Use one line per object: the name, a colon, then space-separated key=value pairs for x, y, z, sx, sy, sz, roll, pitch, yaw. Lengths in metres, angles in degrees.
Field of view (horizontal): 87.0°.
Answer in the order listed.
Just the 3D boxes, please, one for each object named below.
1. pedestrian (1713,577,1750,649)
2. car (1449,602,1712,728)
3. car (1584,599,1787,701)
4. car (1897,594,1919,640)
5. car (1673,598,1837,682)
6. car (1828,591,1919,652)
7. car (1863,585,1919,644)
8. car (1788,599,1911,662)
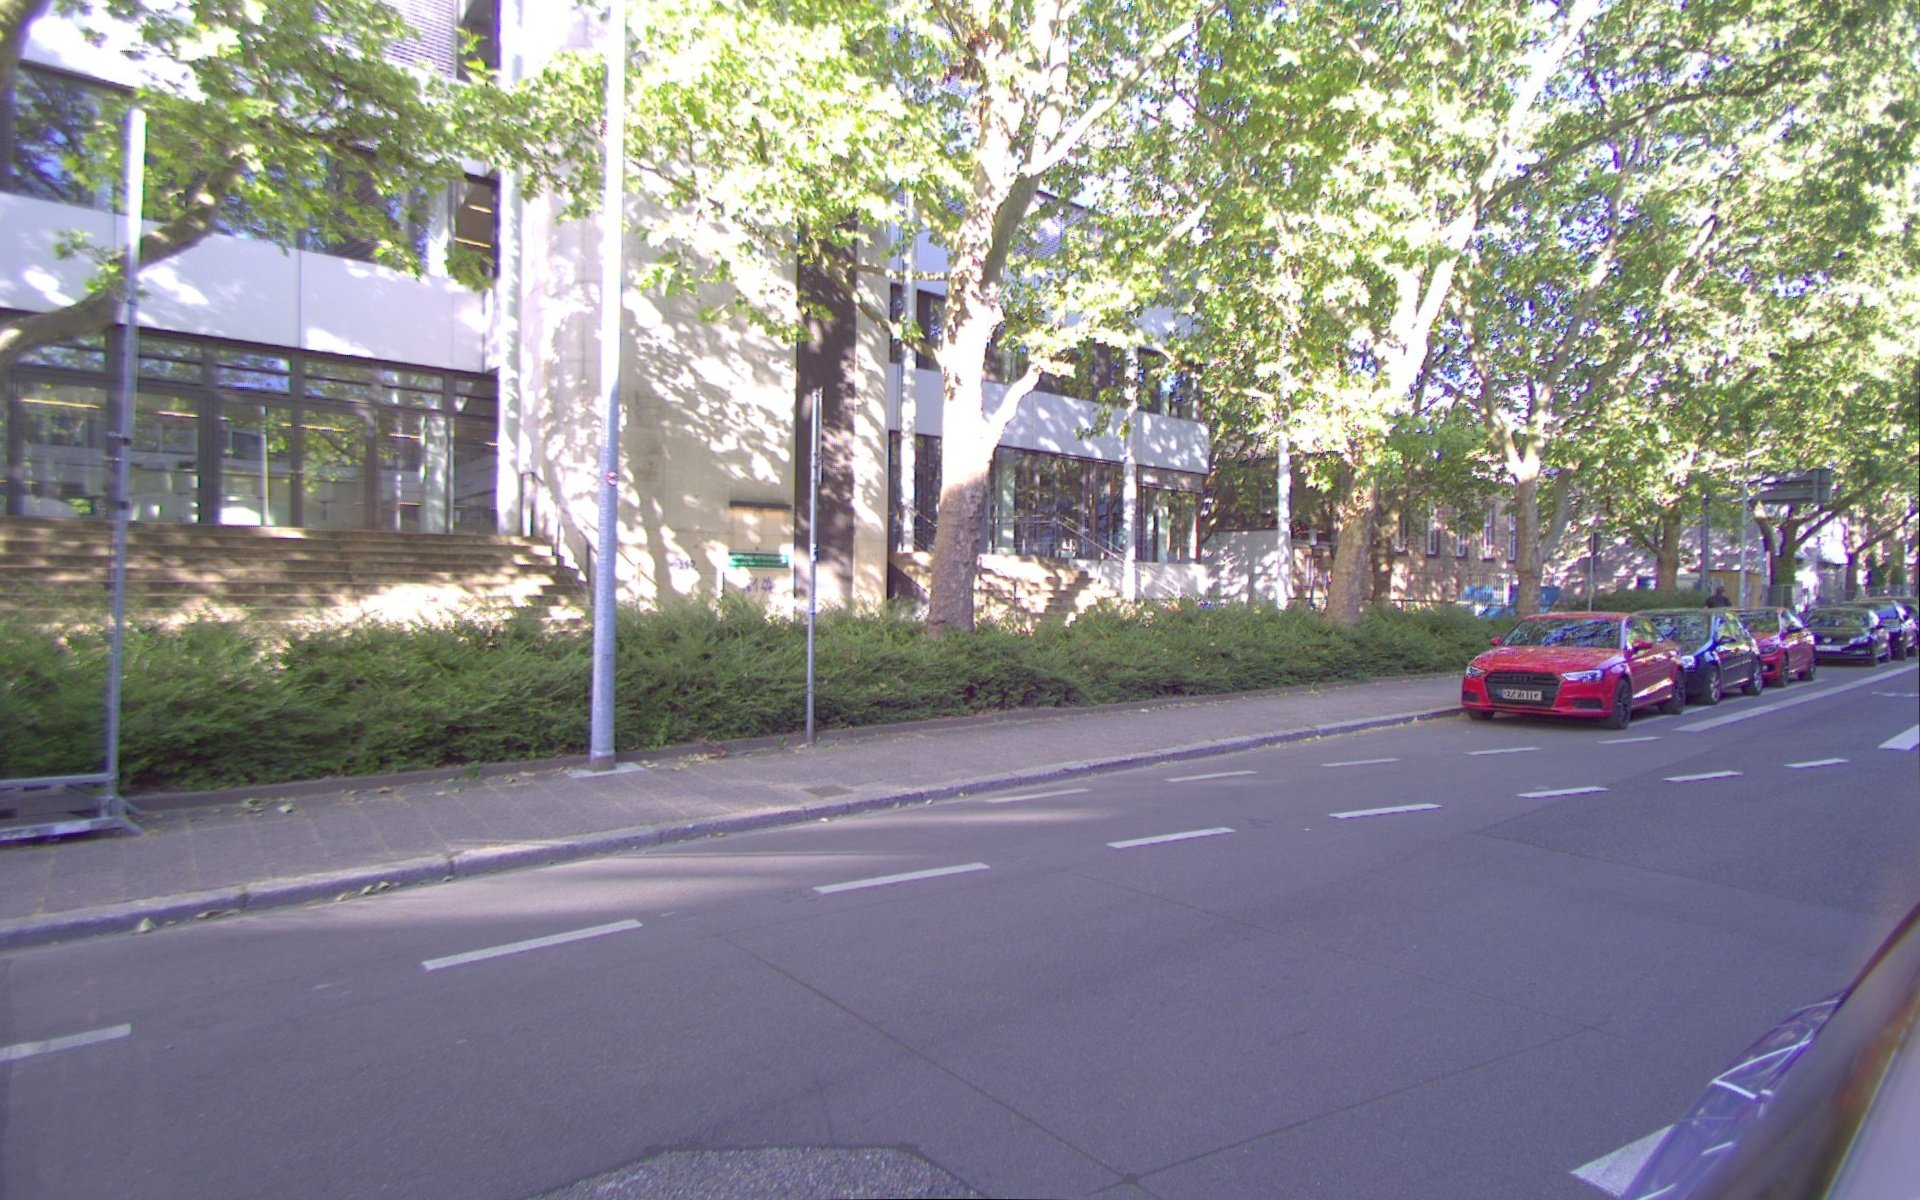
pedestrian: x=20.596 y=0.344 z=27.019 sx=0.629 sy=1.884 sz=0.660 roll=0 pitch=0 yaw=-41
car: x=8.398 y=0.742 z=13.557 sx=4.173 sy=1.422 sz=1.834 roll=0 pitch=0 yaw=-41
car: x=12.018 y=0.724 z=16.674 sx=4.095 sy=1.464 sz=1.834 roll=0 pitch=0 yaw=-41
car: x=35.905 y=0.586 z=37.087 sx=4.183 sy=1.634 sz=1.834 roll=0 pitch=0 yaw=-40
car: x=15.833 y=0.714 z=20.088 sx=4.095 sy=1.486 sz=1.834 roll=0 pitch=0 yaw=-41
car: x=26.556 y=0.578 z=29.073 sx=4.088 sy=1.626 sz=1.834 roll=0 pitch=0 yaw=-40
car: x=31.041 y=0.444 z=32.962 sx=4.383 sy=1.820 sz=1.834 roll=0 pitch=0 yaw=-40
car: x=22.866 y=0.707 z=25.979 sx=4.095 sy=1.486 sz=1.834 roll=0 pitch=0 yaw=-41
